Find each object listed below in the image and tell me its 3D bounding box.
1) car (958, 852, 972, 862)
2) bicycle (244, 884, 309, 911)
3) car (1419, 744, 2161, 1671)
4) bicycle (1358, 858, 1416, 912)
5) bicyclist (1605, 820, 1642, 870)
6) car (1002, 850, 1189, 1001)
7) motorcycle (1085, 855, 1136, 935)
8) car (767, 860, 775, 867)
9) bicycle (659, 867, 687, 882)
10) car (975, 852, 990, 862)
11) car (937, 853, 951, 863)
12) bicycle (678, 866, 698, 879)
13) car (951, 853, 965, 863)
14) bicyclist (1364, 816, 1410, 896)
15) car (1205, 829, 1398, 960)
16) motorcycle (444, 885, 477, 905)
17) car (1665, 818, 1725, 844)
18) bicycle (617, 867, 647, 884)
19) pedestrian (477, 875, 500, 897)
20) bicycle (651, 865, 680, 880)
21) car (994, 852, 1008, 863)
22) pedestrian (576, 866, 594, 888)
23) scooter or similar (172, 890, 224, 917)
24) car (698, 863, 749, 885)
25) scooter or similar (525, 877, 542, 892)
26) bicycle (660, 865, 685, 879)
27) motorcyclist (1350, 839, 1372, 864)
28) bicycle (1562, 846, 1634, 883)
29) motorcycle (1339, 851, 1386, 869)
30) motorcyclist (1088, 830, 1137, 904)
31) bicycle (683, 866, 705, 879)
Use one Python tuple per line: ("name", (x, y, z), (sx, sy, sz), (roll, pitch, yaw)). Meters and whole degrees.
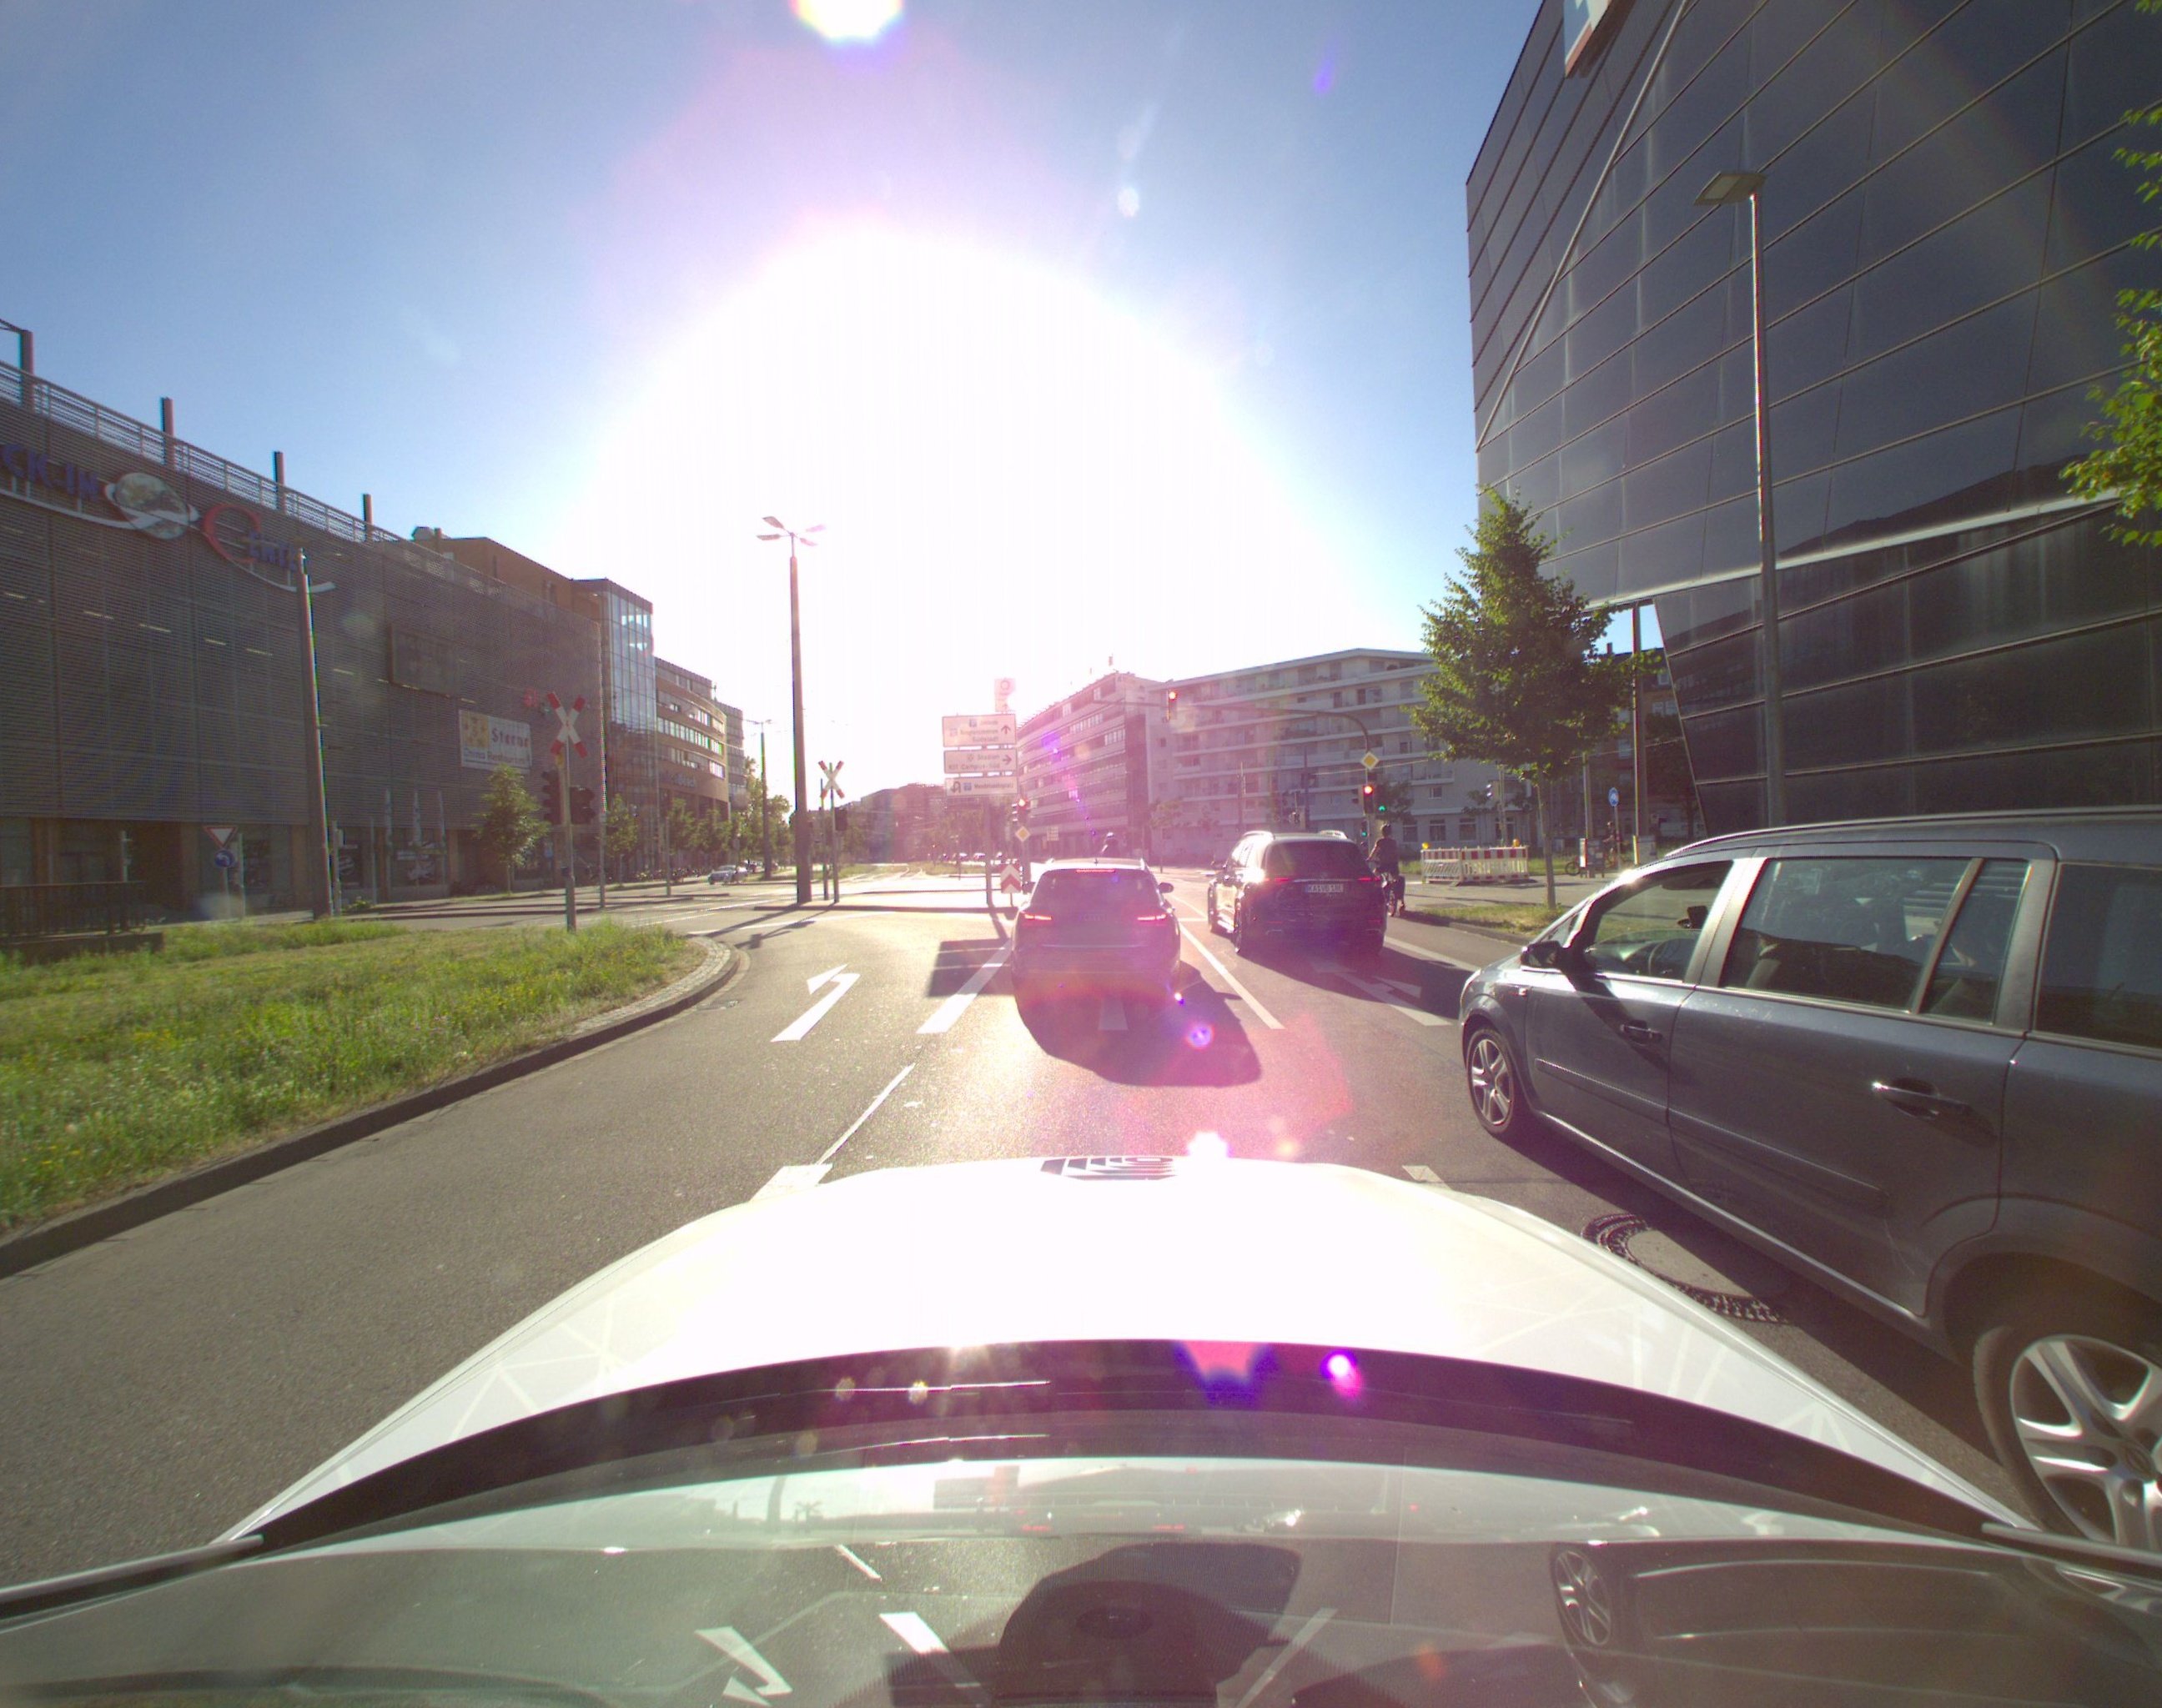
("car", (-20.376, 0.575, 142.635), (1.996, 1.596, 3.981), (-3, 0, -13))
("bicycle", (-41.673, 2.253, 42.217), (0.796, 1.220, 2.418), (-2, 0, 5))
("car", (2.898, 0.643, 2.916), (1.739, 1.696, 4.263), (0, 0, 2))
("bicycle", (6.574, 0.641, 17.573), (0.651, 1.043, 1.932), (-2, 1, 5))
("bicyclist", (18.998, -0.320, 28.520), (0.918, 1.706, 0.773), (-2, 0, 41))
("car", (0.197, 0.698, 10.067), (1.835, 1.454, 4.001), (0, 1, 1))
("motorcycle", (0.553, 0.723, 15.362), (0.859, 1.393, 1.894), (-2, 0, 2))
("car", (-78.825, 2.458, 206.969), (1.658, 1.588, 3.330), (-2, 0, -25))
("bicycle", (-43.568, 2.191, 87.006), (2.546, 1.433, 0.907), (-3, -1, 10))
("car", (-16.982, 0.497, 140.153), (1.998, 1.596, 3.978), (-3, 0, -16))
("car", (-24.941, 0.769, 148.056), (1.998, 1.706, 3.977), (-3, 0, -16))
("bicycle", (-47.208, 2.228, 97.853), (2.125, 1.433, 0.761), (-3, -1, 10))
("car", (-22.547, 0.672, 148.785), (1.998, 1.706, 3.977), (-3, 0, -16))
("bicyclist", (6.592, 0.034, 17.568), (0.651, 1.642, 0.973), (-2, 1, 5))
("car", (3.238, 0.503, 12.906), (1.995, 1.715, 4.374), (0, 1, 2))
("motorcycle", (-41.606, 2.736, 54.619), (0.673, 1.238, 1.894), (-3, -1, 1))
("car", (58.955, -2.163, 78.229), (4.543, 2.310, 2.013), (-2, 0, 39))
("bicycle", (-43.609, 2.088, 79.051), (2.355, 1.433, 1.079), (-3, -1, 10))
("pedestrian", (-44.080, 2.354, 60.577), (0.984, 1.566, 0.829), (-3, -1, 1))
("bicycle", (-43.244, 1.921, 84.748), (2.546, 1.433, 0.907), (-3, -1, 10))
("car", (-15.035, 0.703, 152.425), (1.996, 1.838, 3.981), (-3, 0, -13))
("pedestrian", (-42.203, 1.972, 69.315), (0.823, 1.824, 0.905), (-3, -1, 3))
("scooter or similar", (-43.581, 2.444, 40.208), (0.790, 1.207, 1.575), (-3, -1, 2))
("car", (-27.728, 1.526, 63.343), (1.988, 1.545, 4.526), (-2, 0, -2))
("scooter or similar", (-42.769, 2.372, 63.604), (0.419, 1.110, 1.153), (-3, -1, 2))
("bicycle", (-46.932, 2.094, 93.528), (2.591, 1.433, 0.773), (-3, -1, 10))
("motorcyclist", (16.975, -0.168, 49.370), (0.921, 1.481, 1.172), (-2, 0, 2))
("bicycle", (18.438, 0.399, 29.068), (2.055, 1.262, 0.773), (-2, 0, 41))
("motorcycle", (17.041, 0.342, 49.372), (2.443, 1.000, 1.172), (-2, 0, 2))
("motorcyclist", (0.587, 0.231, 15.249), (0.859, 1.326, 0.681), (-2, 0, 1))
("bicycle", (-47.040, 2.262, 99.024), (2.405, 1.433, 0.791), (-3, -1, 10))
